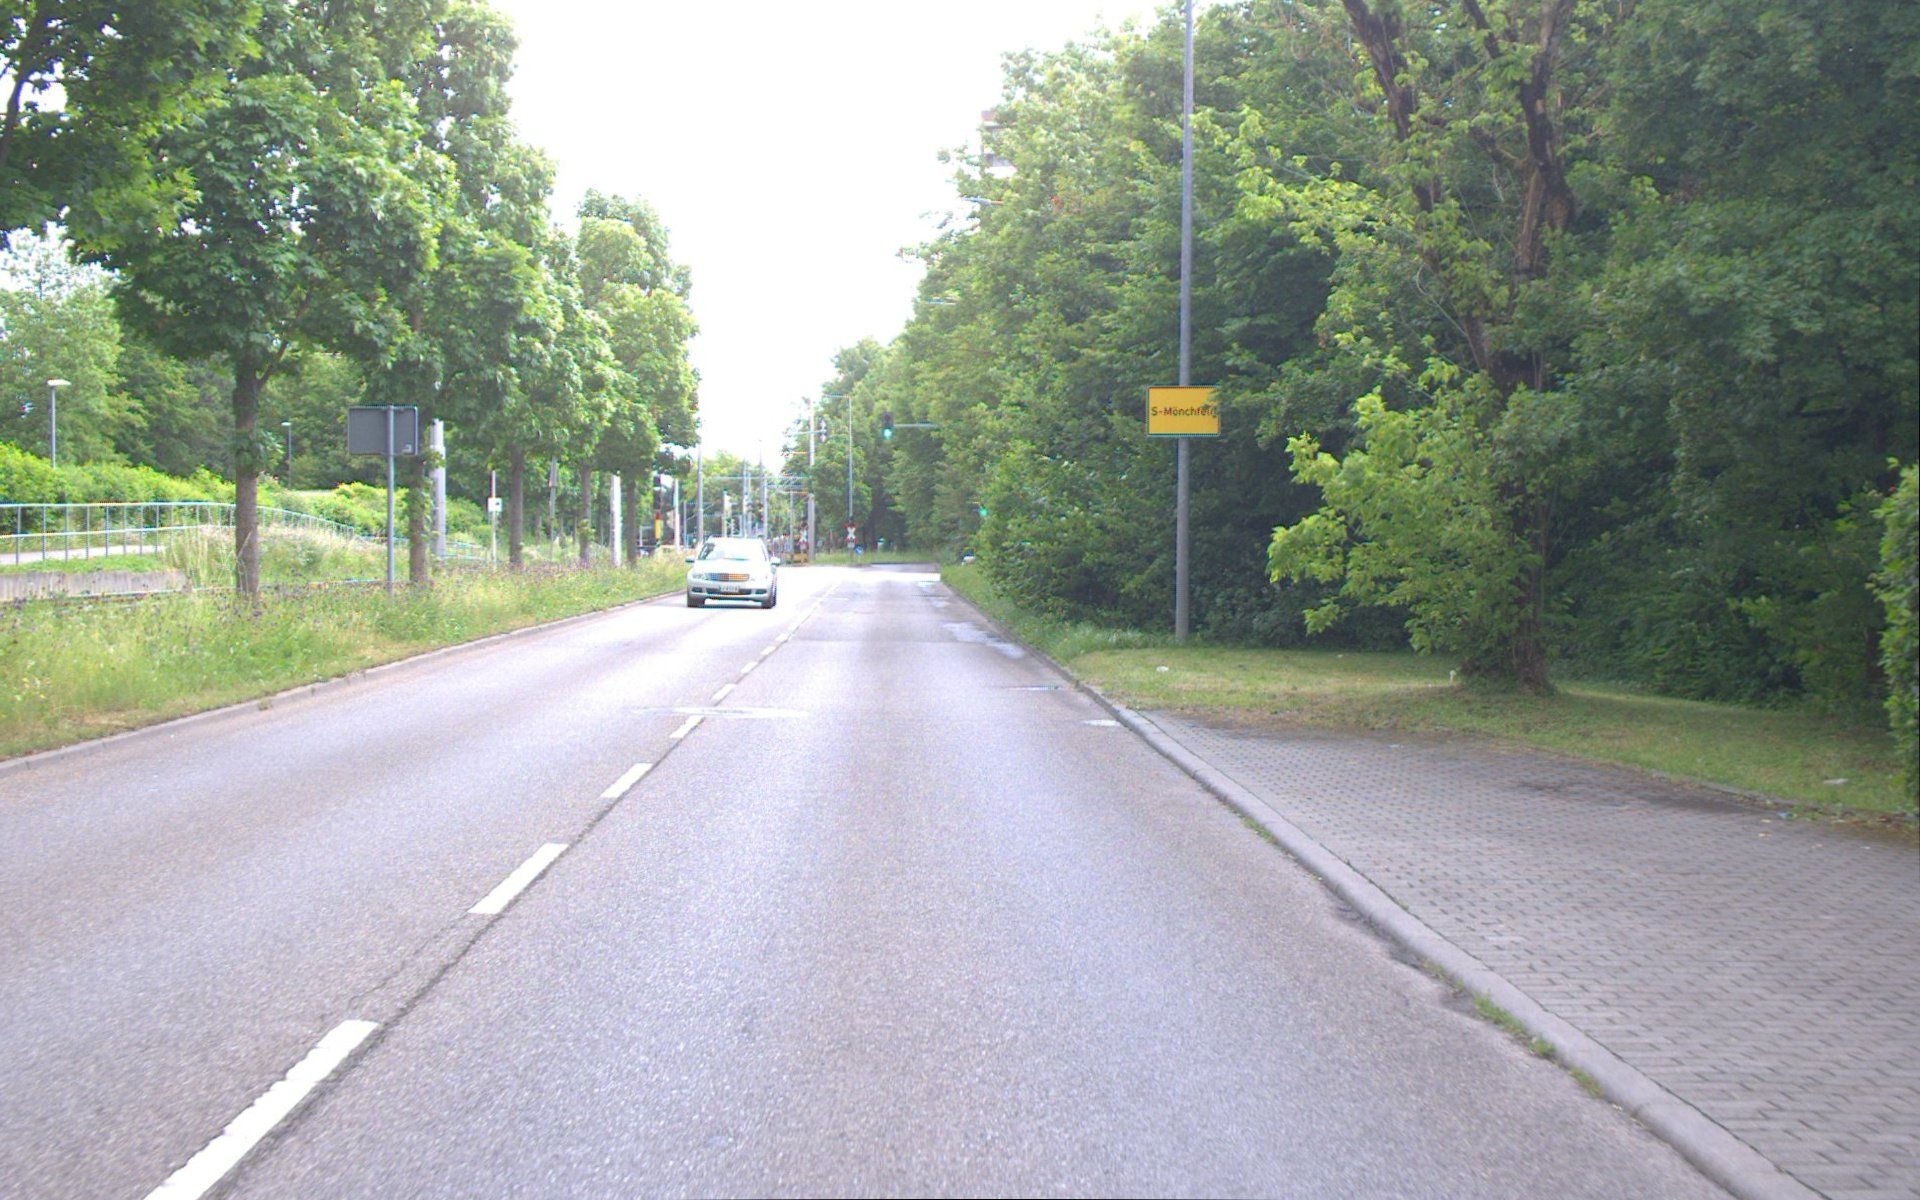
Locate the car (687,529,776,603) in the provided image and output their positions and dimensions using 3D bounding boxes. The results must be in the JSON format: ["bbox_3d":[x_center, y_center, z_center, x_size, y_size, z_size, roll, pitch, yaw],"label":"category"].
[{"bbox_3d":[-4.769,-0.734,72.166,1.774,1.464,4.242,1,1,-3],"label":"car"}]
